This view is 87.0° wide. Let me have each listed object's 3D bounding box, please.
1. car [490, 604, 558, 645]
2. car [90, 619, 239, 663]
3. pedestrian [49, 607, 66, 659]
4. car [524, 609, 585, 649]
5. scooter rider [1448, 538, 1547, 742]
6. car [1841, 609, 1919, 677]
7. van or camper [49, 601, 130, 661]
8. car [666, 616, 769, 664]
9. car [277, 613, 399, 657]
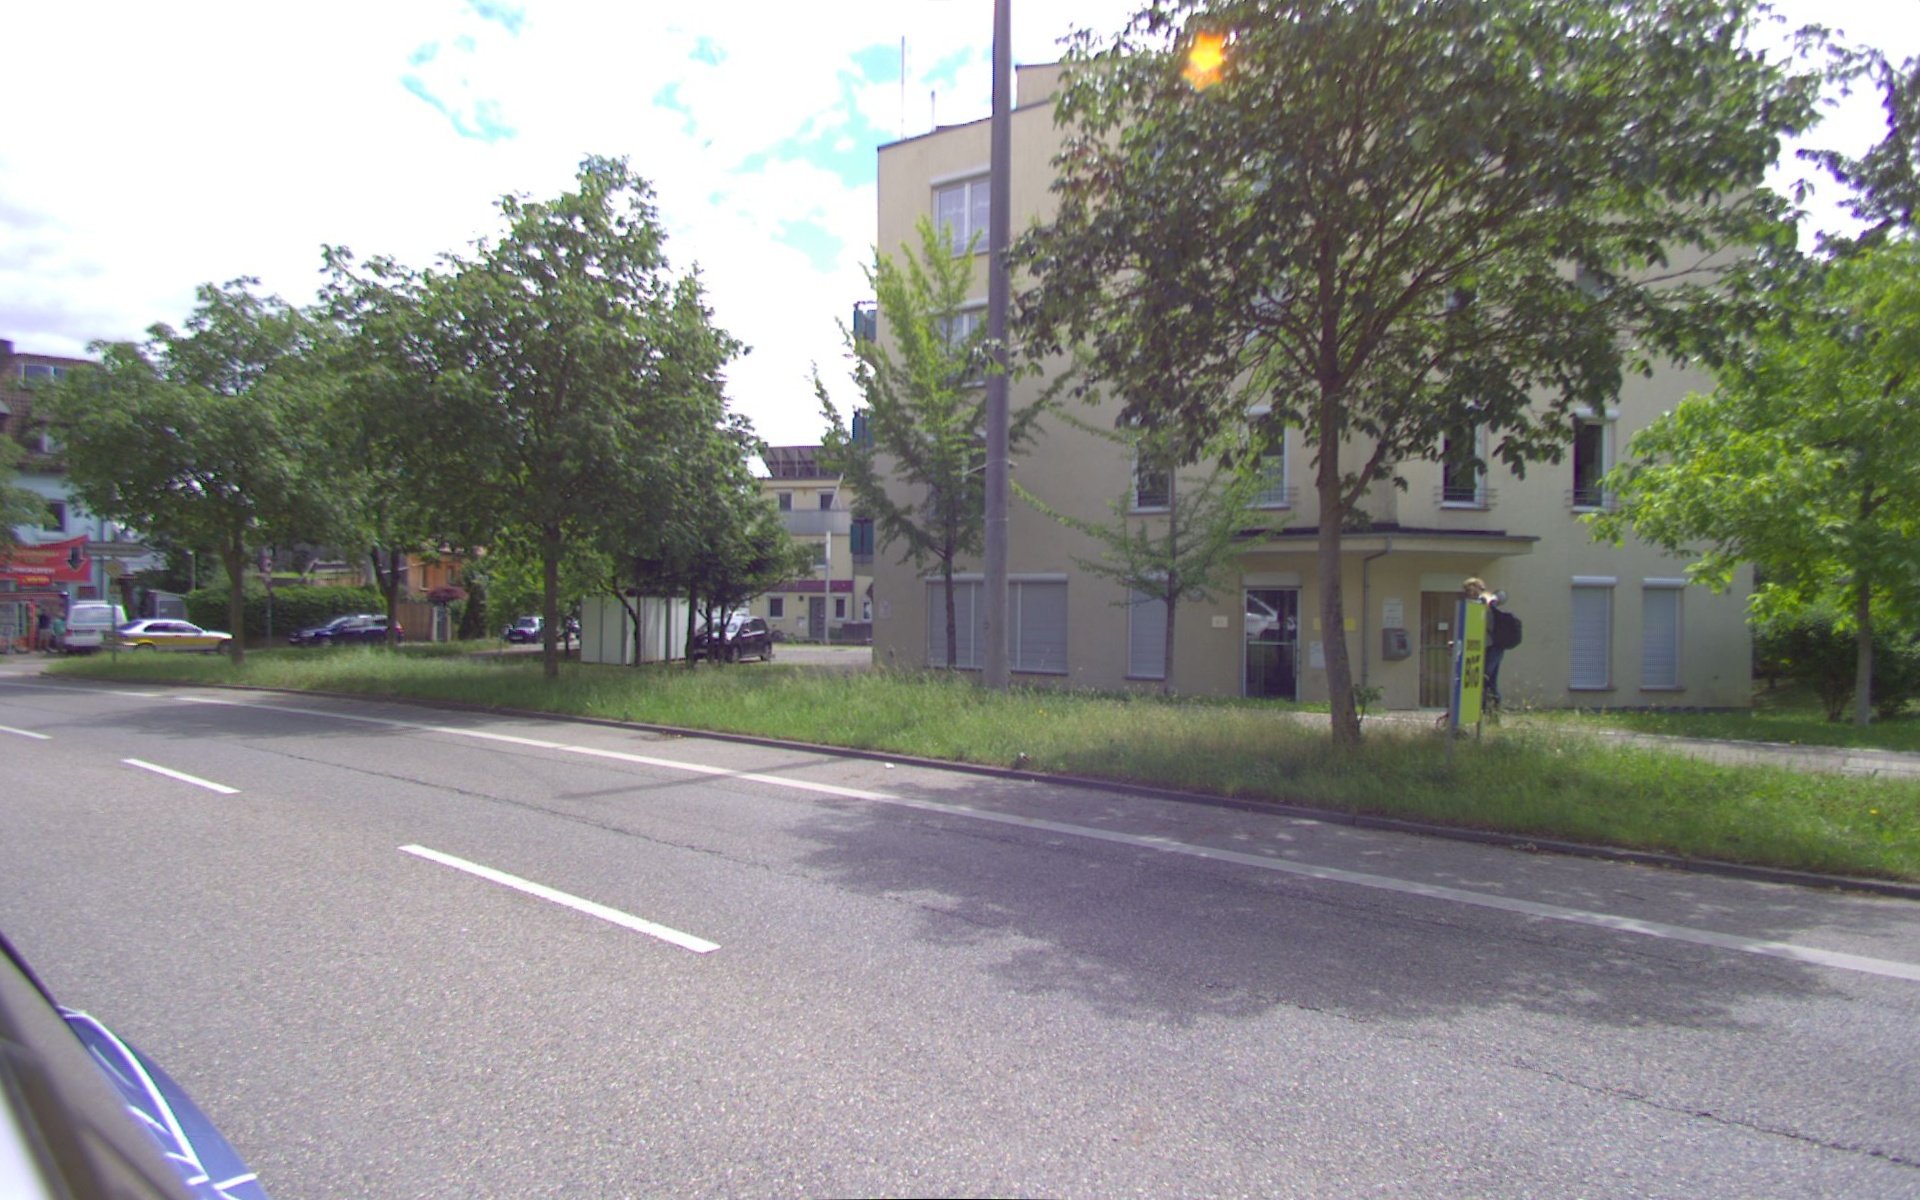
[{"bbox_3d":[-22.733,1.271,52.904,1.953,2.029,4.001,-1,-1,-2],"label":"car"},{"bbox_3d":[-28.914,1.456,36.914,1.528,1.332,4.010,0,2,26],"label":"car"},{"bbox_3d":[-35.120,1.266,39.363,0.443,2.005,0.379,0,2,39],"label":"pedestrian"},{"bbox_3d":[-22.891,1.592,57.263,1.971,2.028,4.002,-1,1,-2],"label":"car"},{"bbox_3d":[5.608,0.384,10.560,0.793,2.028,0.670,0,2,40],"label":"scooter rider"},{"bbox_3d":[24.523,1.065,25.424,1.697,1.676,3.989,0,-1,9],"label":"car"},{"bbox_3d":[-33.065,1.128,38.413,3.810,2.104,1.771,0,2,42],"label":"van or camper"},{"bbox_3d":[-7.604,1.290,32.171,1.774,1.431,3.987,-1,-3,10],"label":"car"},{"bbox_3d":[-25.403,1.377,41.453,1.714,1.695,3.930,0,0,36],"label":"car"}]
